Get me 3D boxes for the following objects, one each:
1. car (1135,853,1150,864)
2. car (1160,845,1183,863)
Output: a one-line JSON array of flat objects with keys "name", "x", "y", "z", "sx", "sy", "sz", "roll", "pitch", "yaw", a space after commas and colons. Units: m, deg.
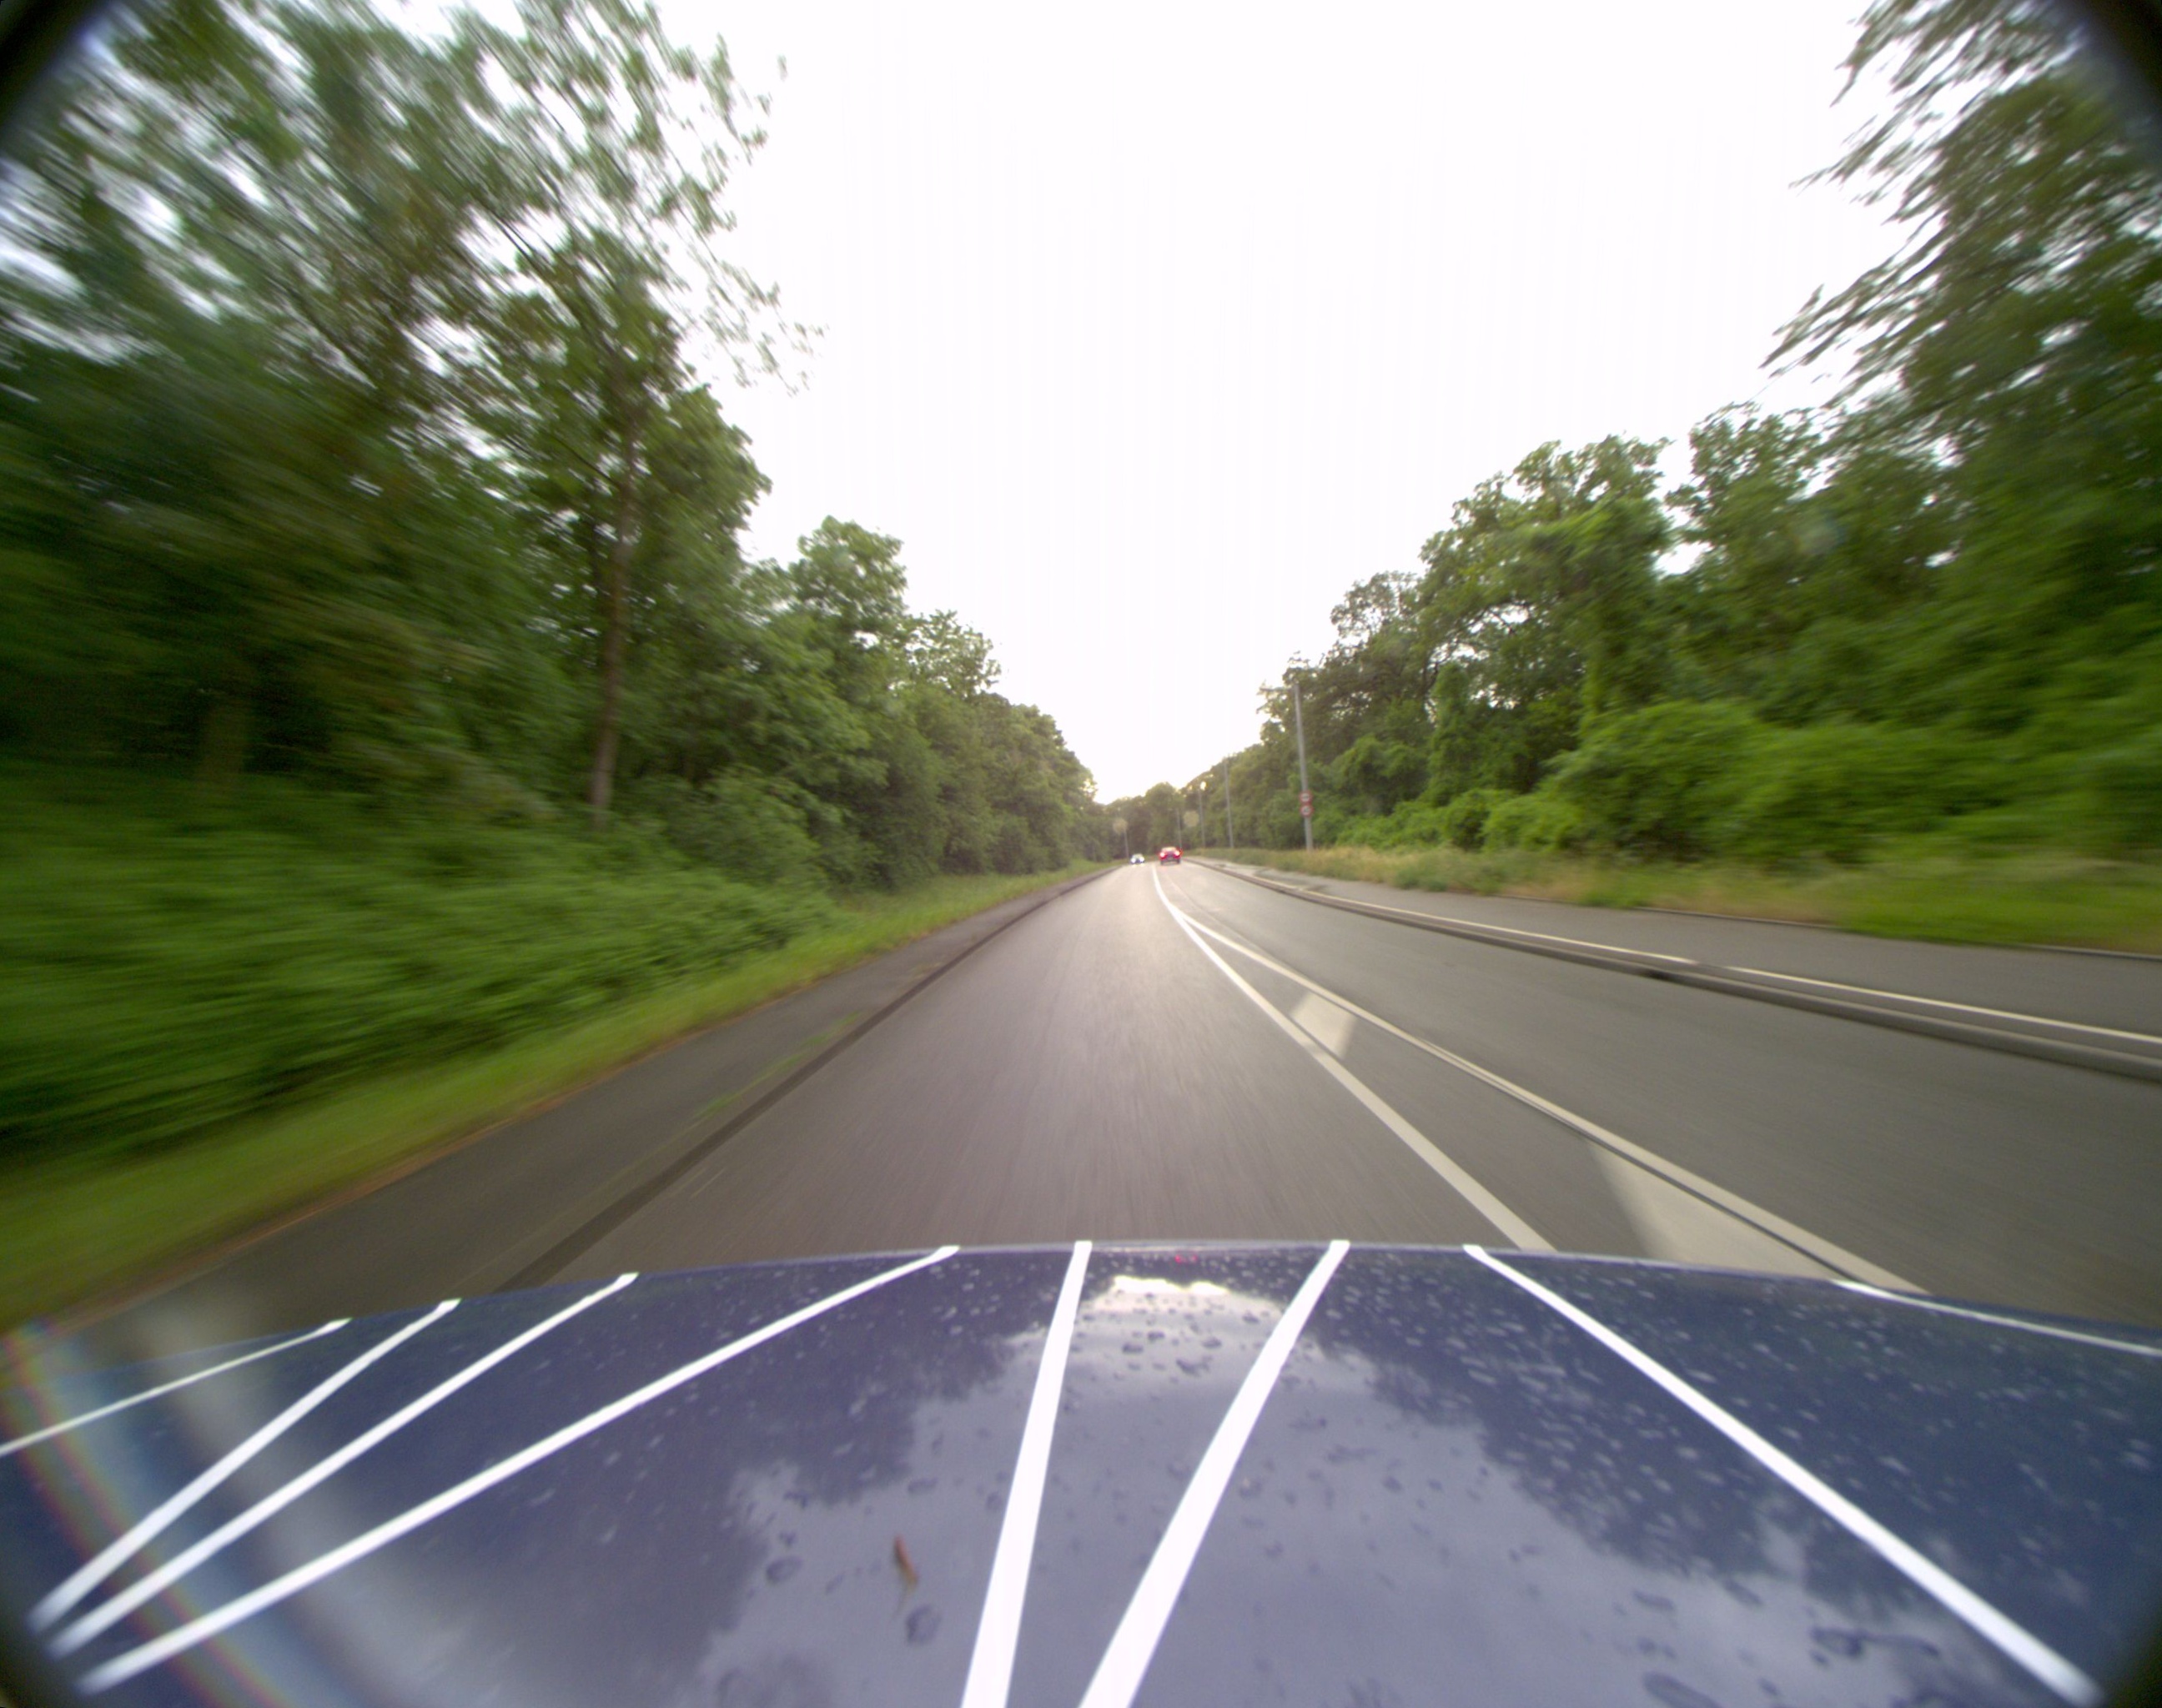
[{"name": "car", "x": 8.670, "y": 0.638, "z": 107.337, "sx": 1.781, "sy": 1.477, "sz": 4.000, "roll": -3, "pitch": 0, "yaw": 2}, {"name": "car", "x": 9.521, "y": -0.012, "z": 79.588, "sx": 1.997, "sy": 1.776, "sz": 4.711, "roll": -3, "pitch": 0, "yaw": 10}]
